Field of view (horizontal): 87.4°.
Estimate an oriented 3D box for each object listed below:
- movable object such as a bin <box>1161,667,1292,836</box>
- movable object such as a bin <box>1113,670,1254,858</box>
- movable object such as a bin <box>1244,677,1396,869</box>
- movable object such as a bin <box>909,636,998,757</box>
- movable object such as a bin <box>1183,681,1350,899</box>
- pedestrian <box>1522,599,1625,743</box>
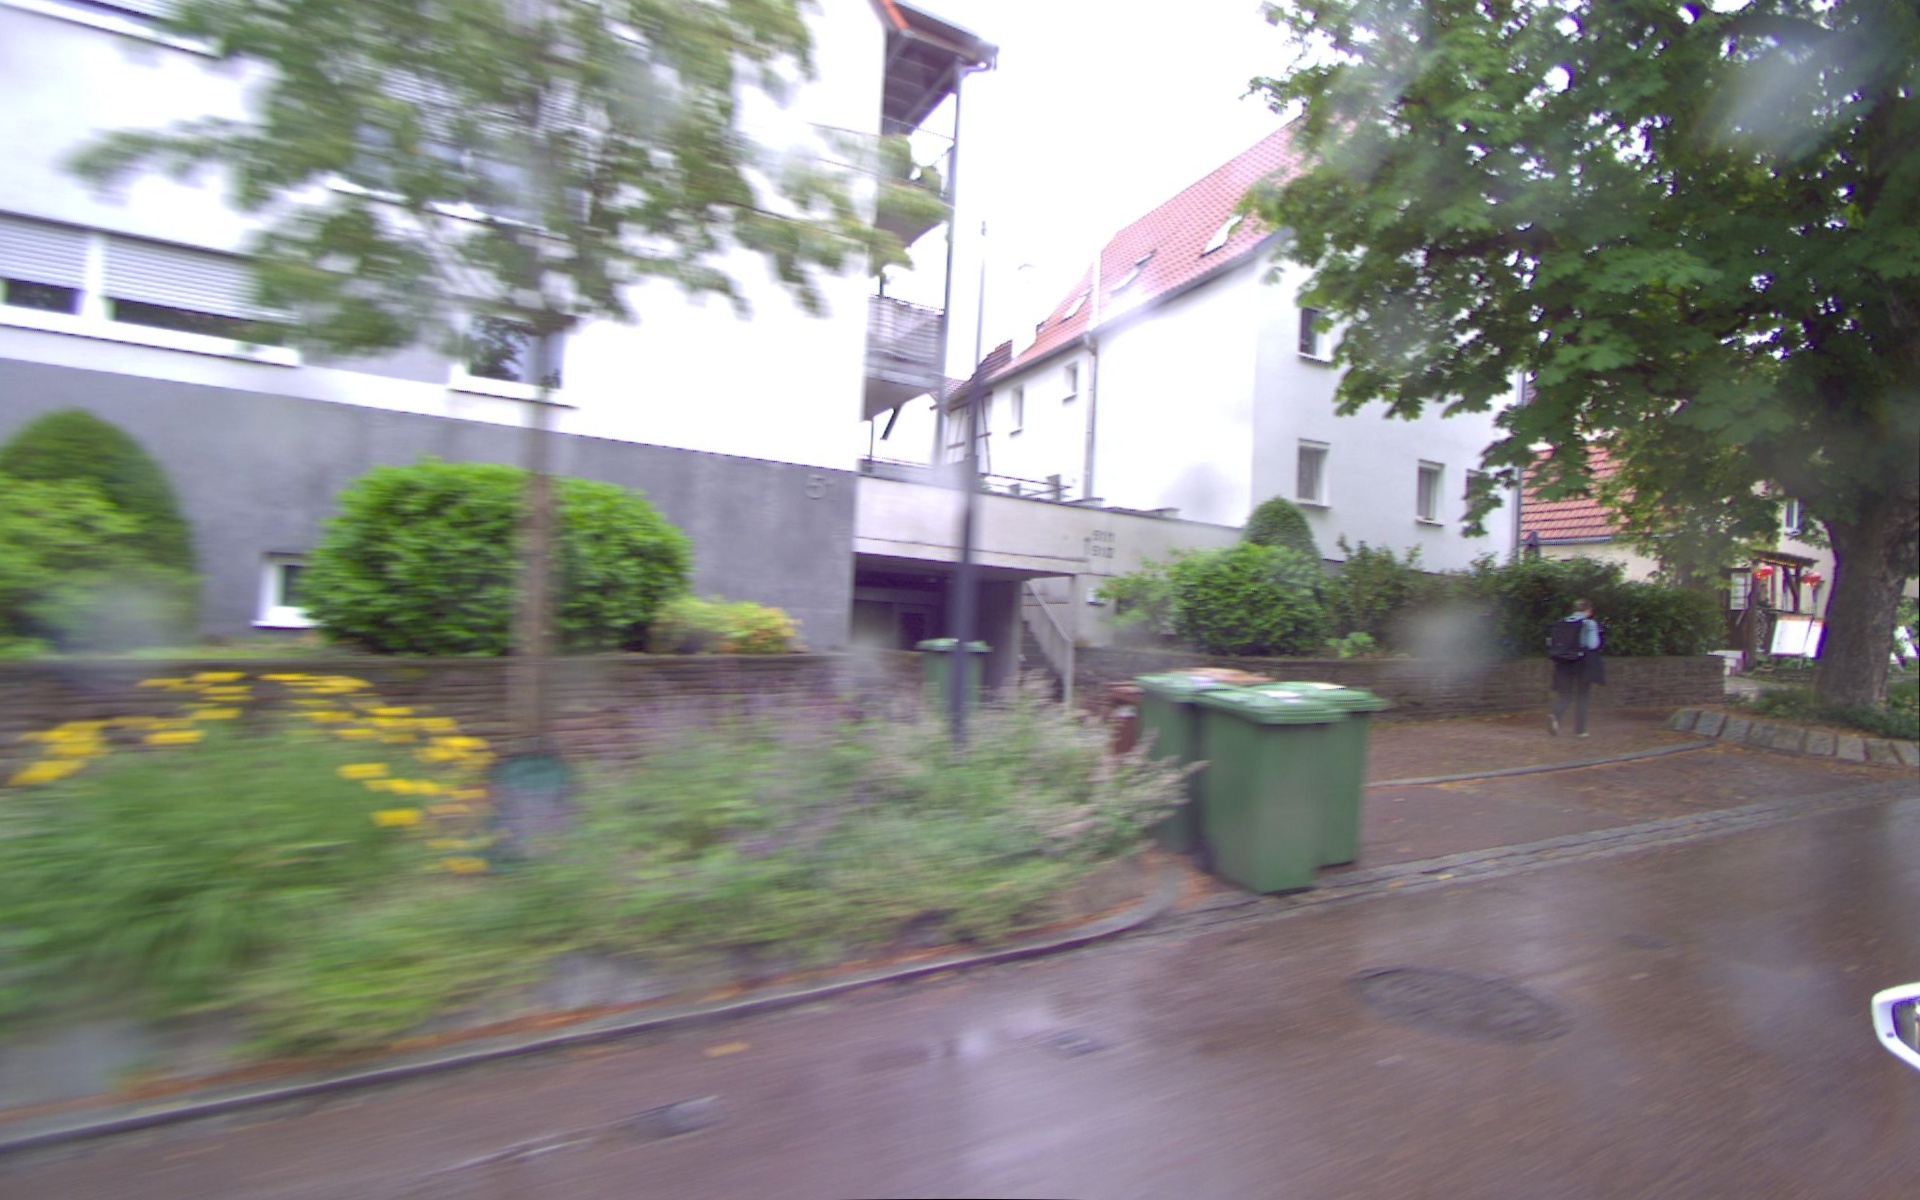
[{"bbox_3d":[1.874,1.040,7.104,0.588,1.088,0.661,2,-1,-25],"label":"movable object such as a bin"},{"bbox_3d":[1.419,1.011,6.429,0.588,1.088,0.661,2,-1,-25],"label":"movable object such as a bin"},{"bbox_3d":[2.242,1.043,6.294,0.588,1.081,0.661,2,-1,-25],"label":"movable object such as a bin"},{"bbox_3d":[-0.073,0.954,10.189,0.650,1.148,0.660,2,0,-28],"label":"movable object such as a bin"},{"bbox_3d":[1.711,1.024,5.649,0.588,1.088,0.661,2,-1,-25],"label":"movable object such as a bin"},{"bbox_3d":[7.192,0.810,11.782,0.921,1.615,0.647,2,0,-30],"label":"pedestrian"}]
